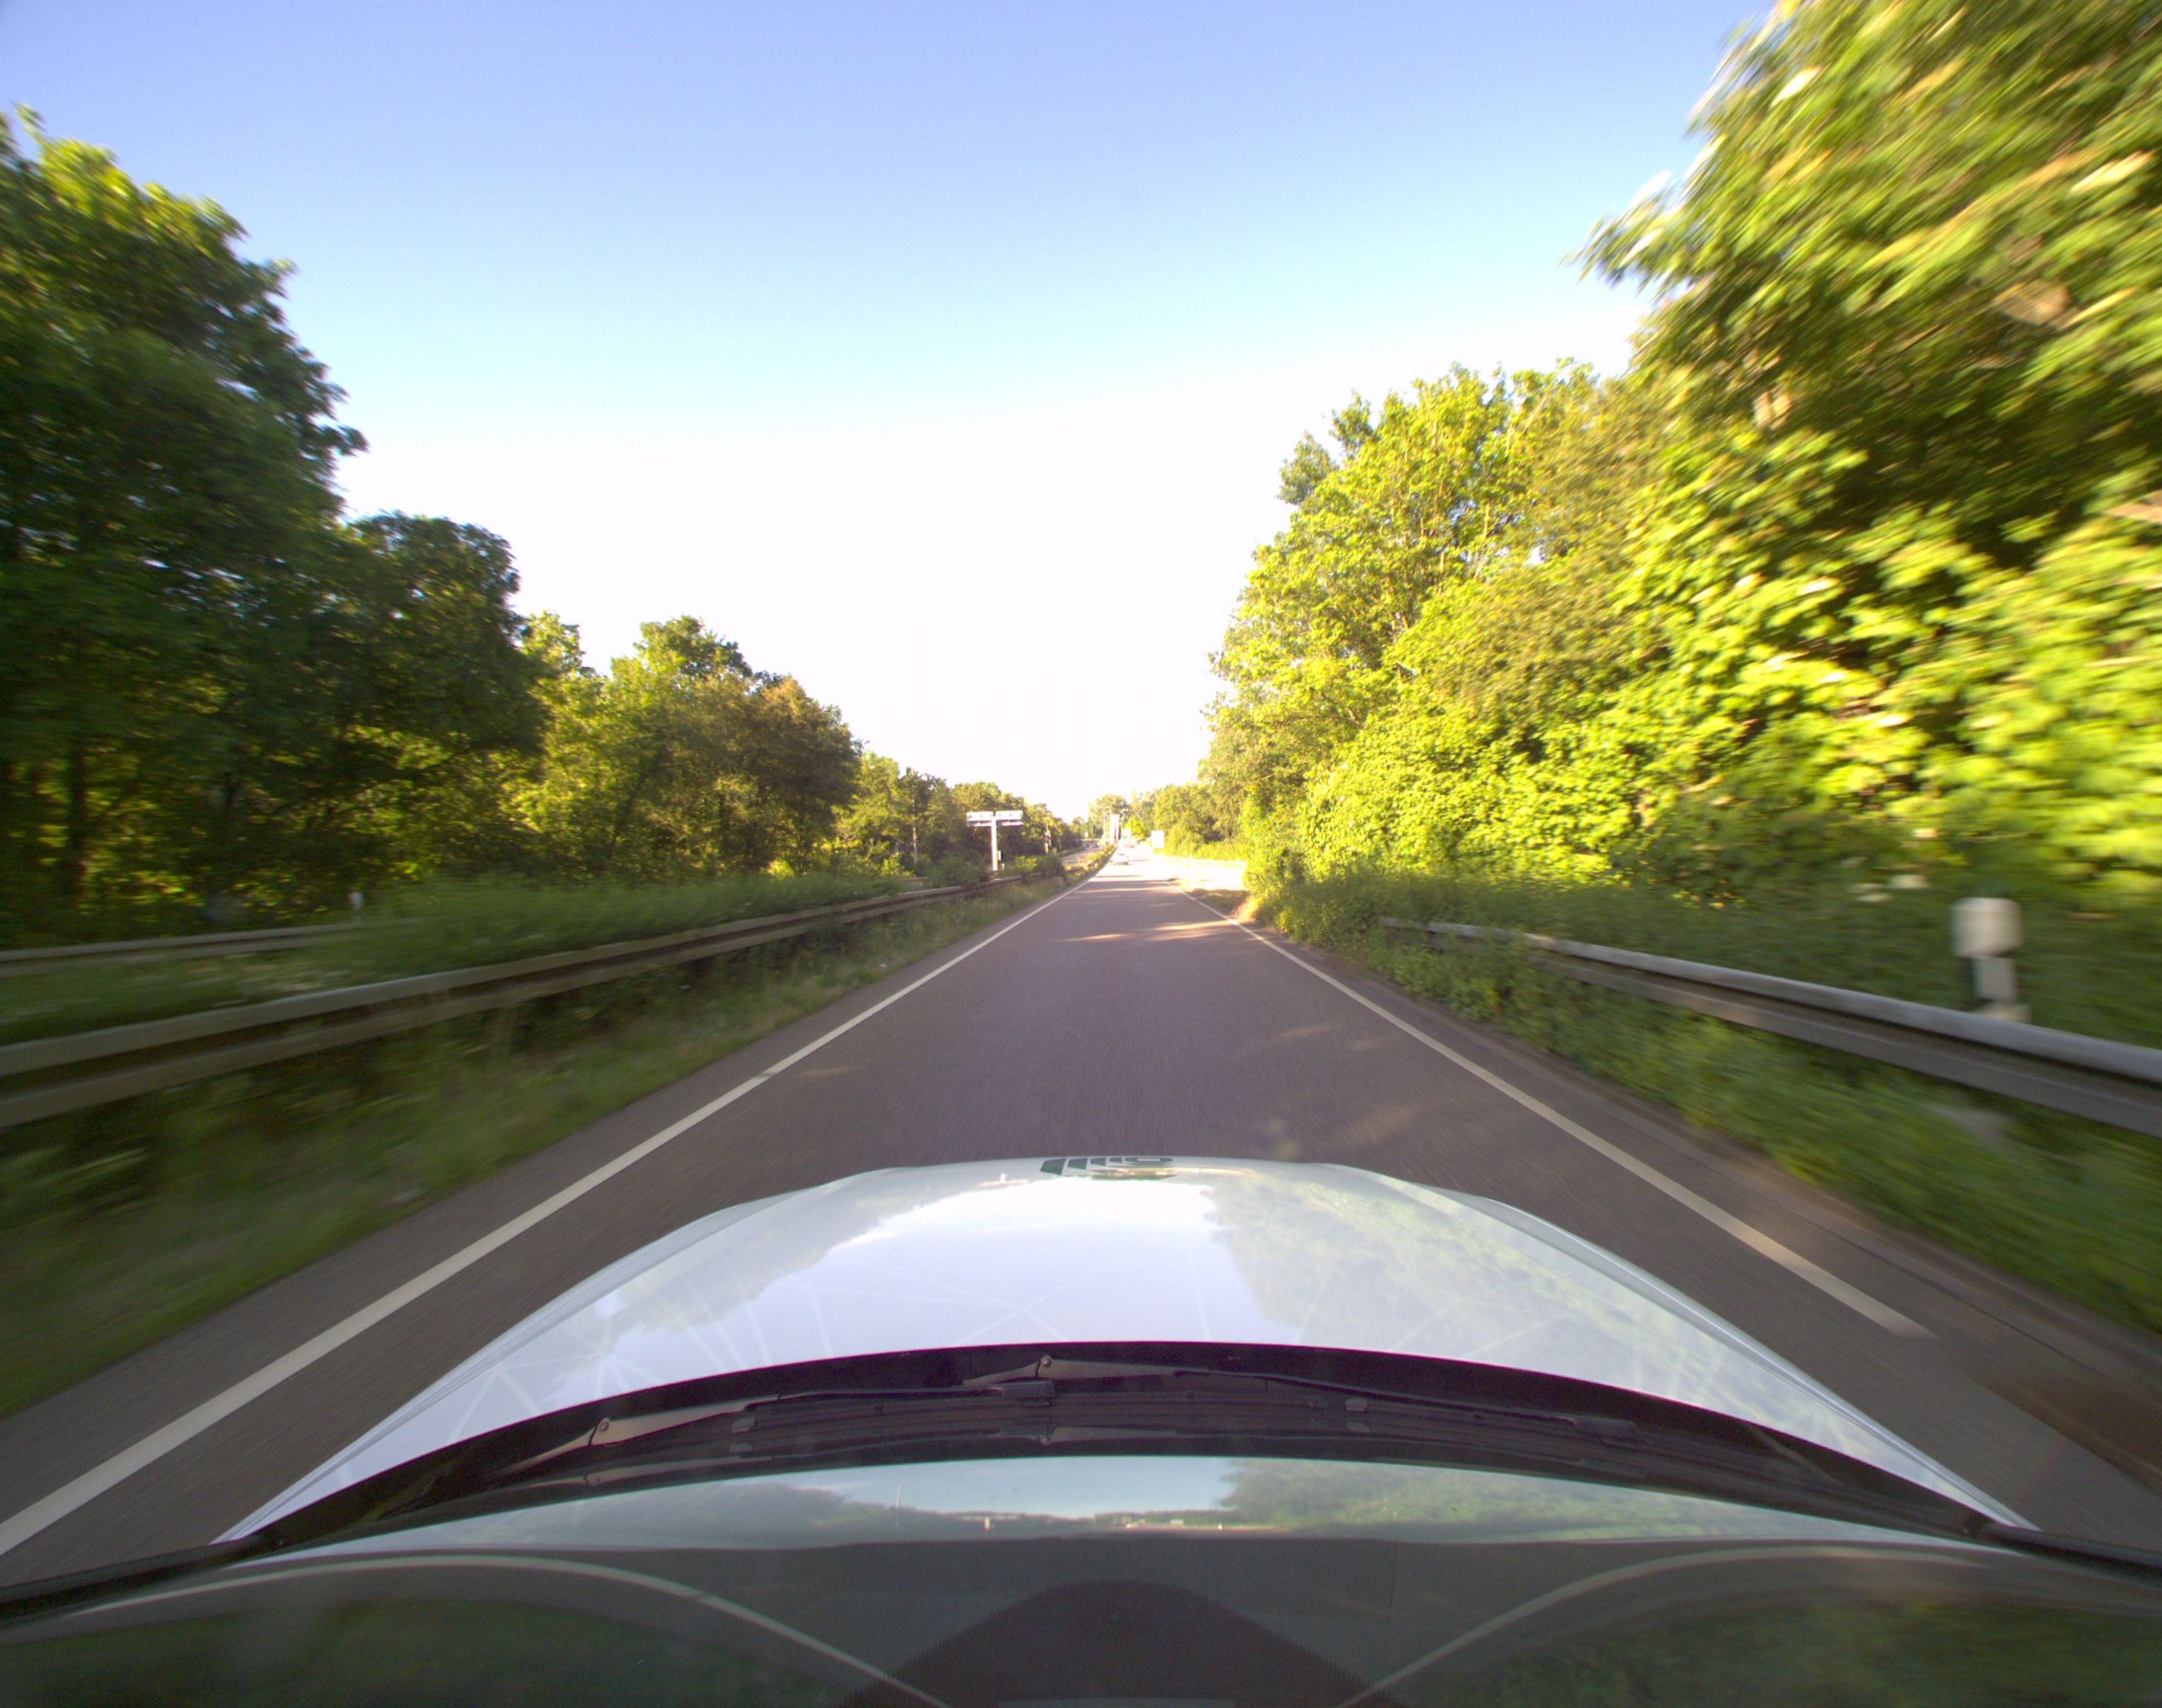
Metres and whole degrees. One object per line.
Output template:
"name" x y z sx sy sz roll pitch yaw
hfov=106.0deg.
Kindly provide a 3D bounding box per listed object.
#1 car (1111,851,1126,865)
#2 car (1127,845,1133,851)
"car" 5.198 0.559 112.414 1.879 1.816 3.999 0 0 0
"car" 15.729 -1.862 260.716 1.789 1.829 3.421 1 0 5
